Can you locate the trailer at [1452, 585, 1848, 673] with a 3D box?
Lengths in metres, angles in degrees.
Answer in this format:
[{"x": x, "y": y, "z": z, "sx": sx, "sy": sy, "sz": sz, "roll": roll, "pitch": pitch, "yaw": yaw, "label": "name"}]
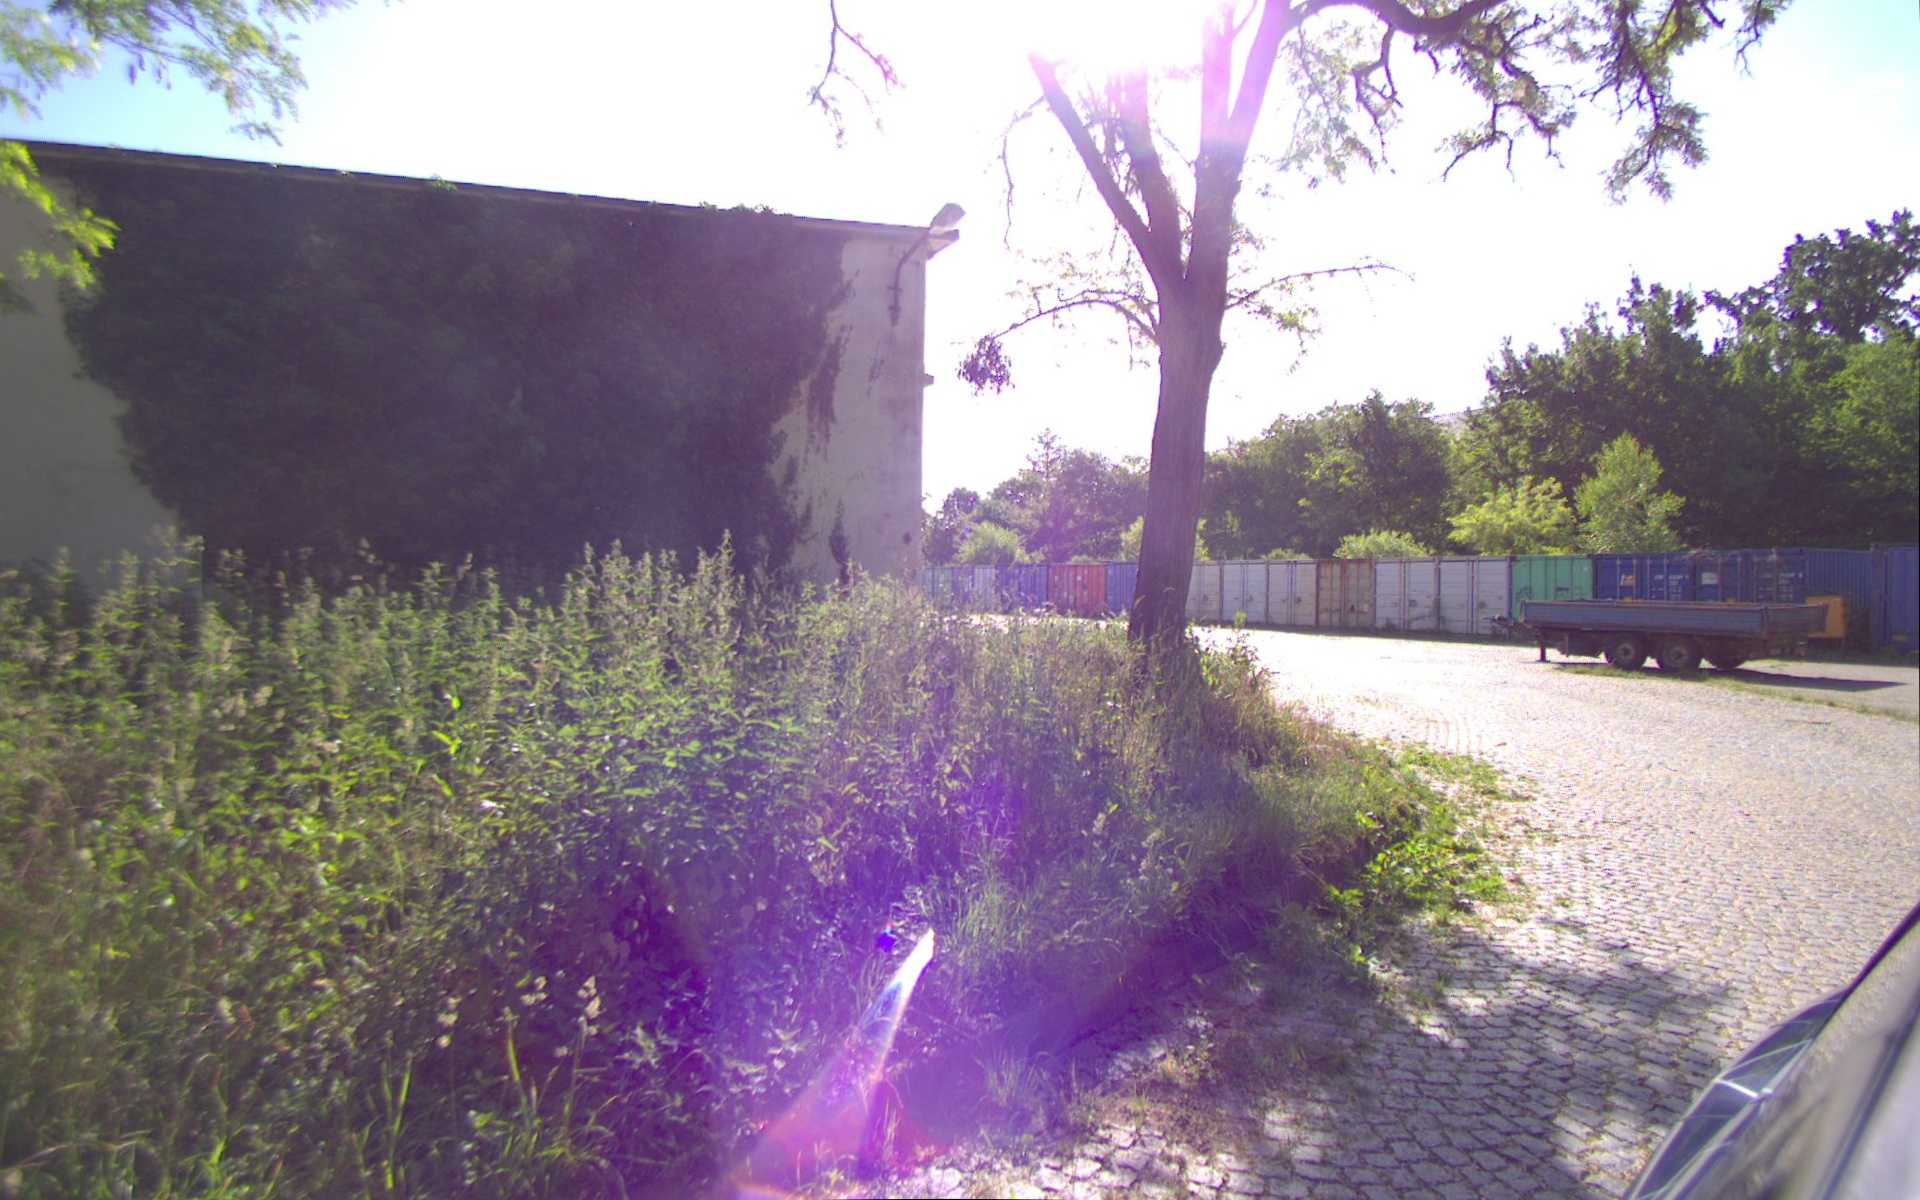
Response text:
[{"x": 14.447, "y": 0.498, "z": 21.802, "sx": 2.798, "sy": 1.536, "sz": 6.500, "roll": -1, "pitch": 1, "yaw": -29, "label": "trailer"}]
